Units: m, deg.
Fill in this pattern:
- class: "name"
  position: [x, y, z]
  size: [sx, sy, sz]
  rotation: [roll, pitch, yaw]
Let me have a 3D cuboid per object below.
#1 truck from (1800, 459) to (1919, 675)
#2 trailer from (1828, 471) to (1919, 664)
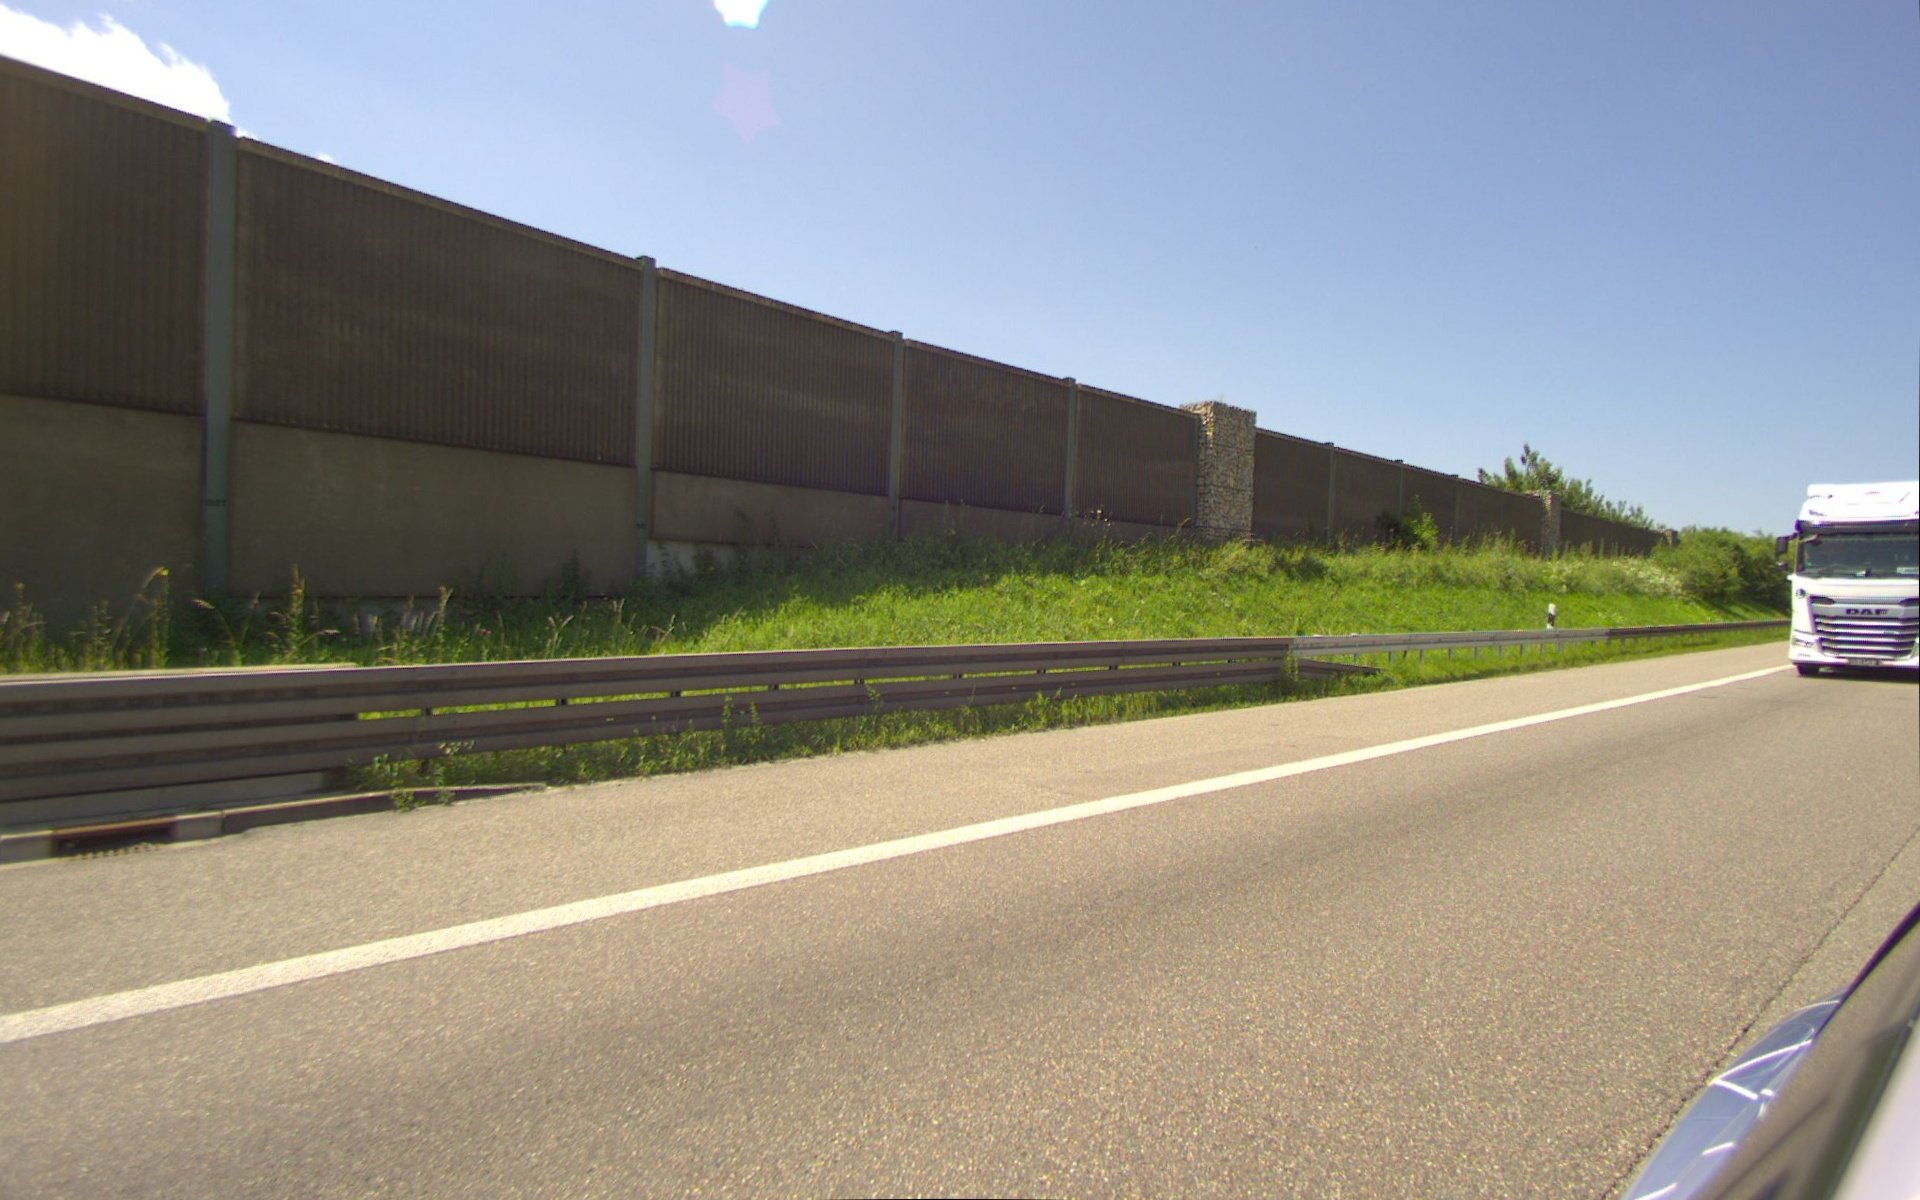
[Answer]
- class: "truck"
  position: [19.877, -0.634, 21.331]
  size: [6.272, 4.027, 2.481]
  rotation: [0, 1, -43]
- class: "trailer"
  position: [24.829, -0.692, 25.810]
  size: [13.422, 4.027, 2.481]
  rotation: [0, 1, -43]
